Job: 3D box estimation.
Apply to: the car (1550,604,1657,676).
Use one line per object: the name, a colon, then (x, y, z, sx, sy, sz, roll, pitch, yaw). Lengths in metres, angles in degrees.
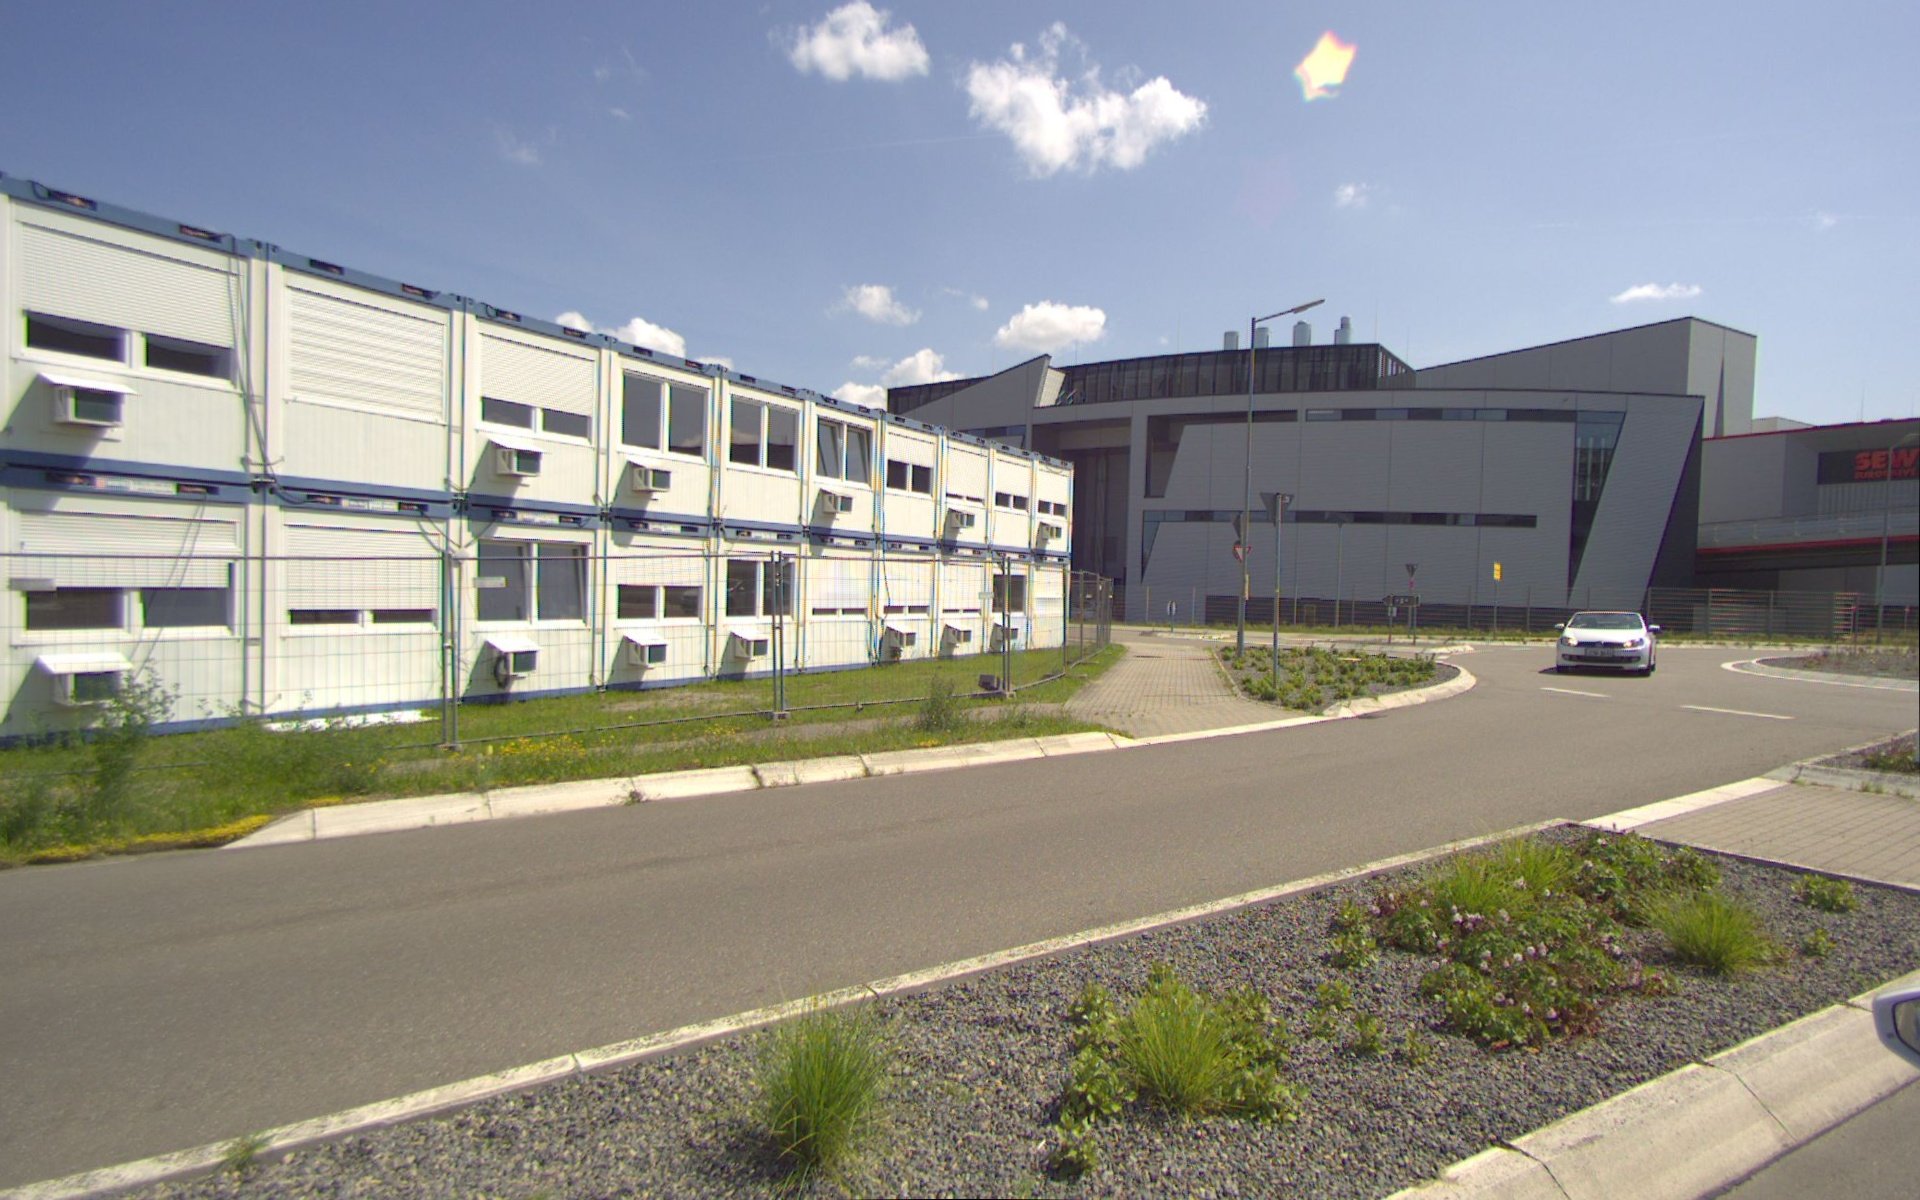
car: (14.593, 0.856, 22.972, 1.743, 1.447, 4.045, 2, 0, 29)

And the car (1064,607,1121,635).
car: (8.857, 1.364, 66.969, 1.967, 1.713, 4.300, 3, 2, 35)
